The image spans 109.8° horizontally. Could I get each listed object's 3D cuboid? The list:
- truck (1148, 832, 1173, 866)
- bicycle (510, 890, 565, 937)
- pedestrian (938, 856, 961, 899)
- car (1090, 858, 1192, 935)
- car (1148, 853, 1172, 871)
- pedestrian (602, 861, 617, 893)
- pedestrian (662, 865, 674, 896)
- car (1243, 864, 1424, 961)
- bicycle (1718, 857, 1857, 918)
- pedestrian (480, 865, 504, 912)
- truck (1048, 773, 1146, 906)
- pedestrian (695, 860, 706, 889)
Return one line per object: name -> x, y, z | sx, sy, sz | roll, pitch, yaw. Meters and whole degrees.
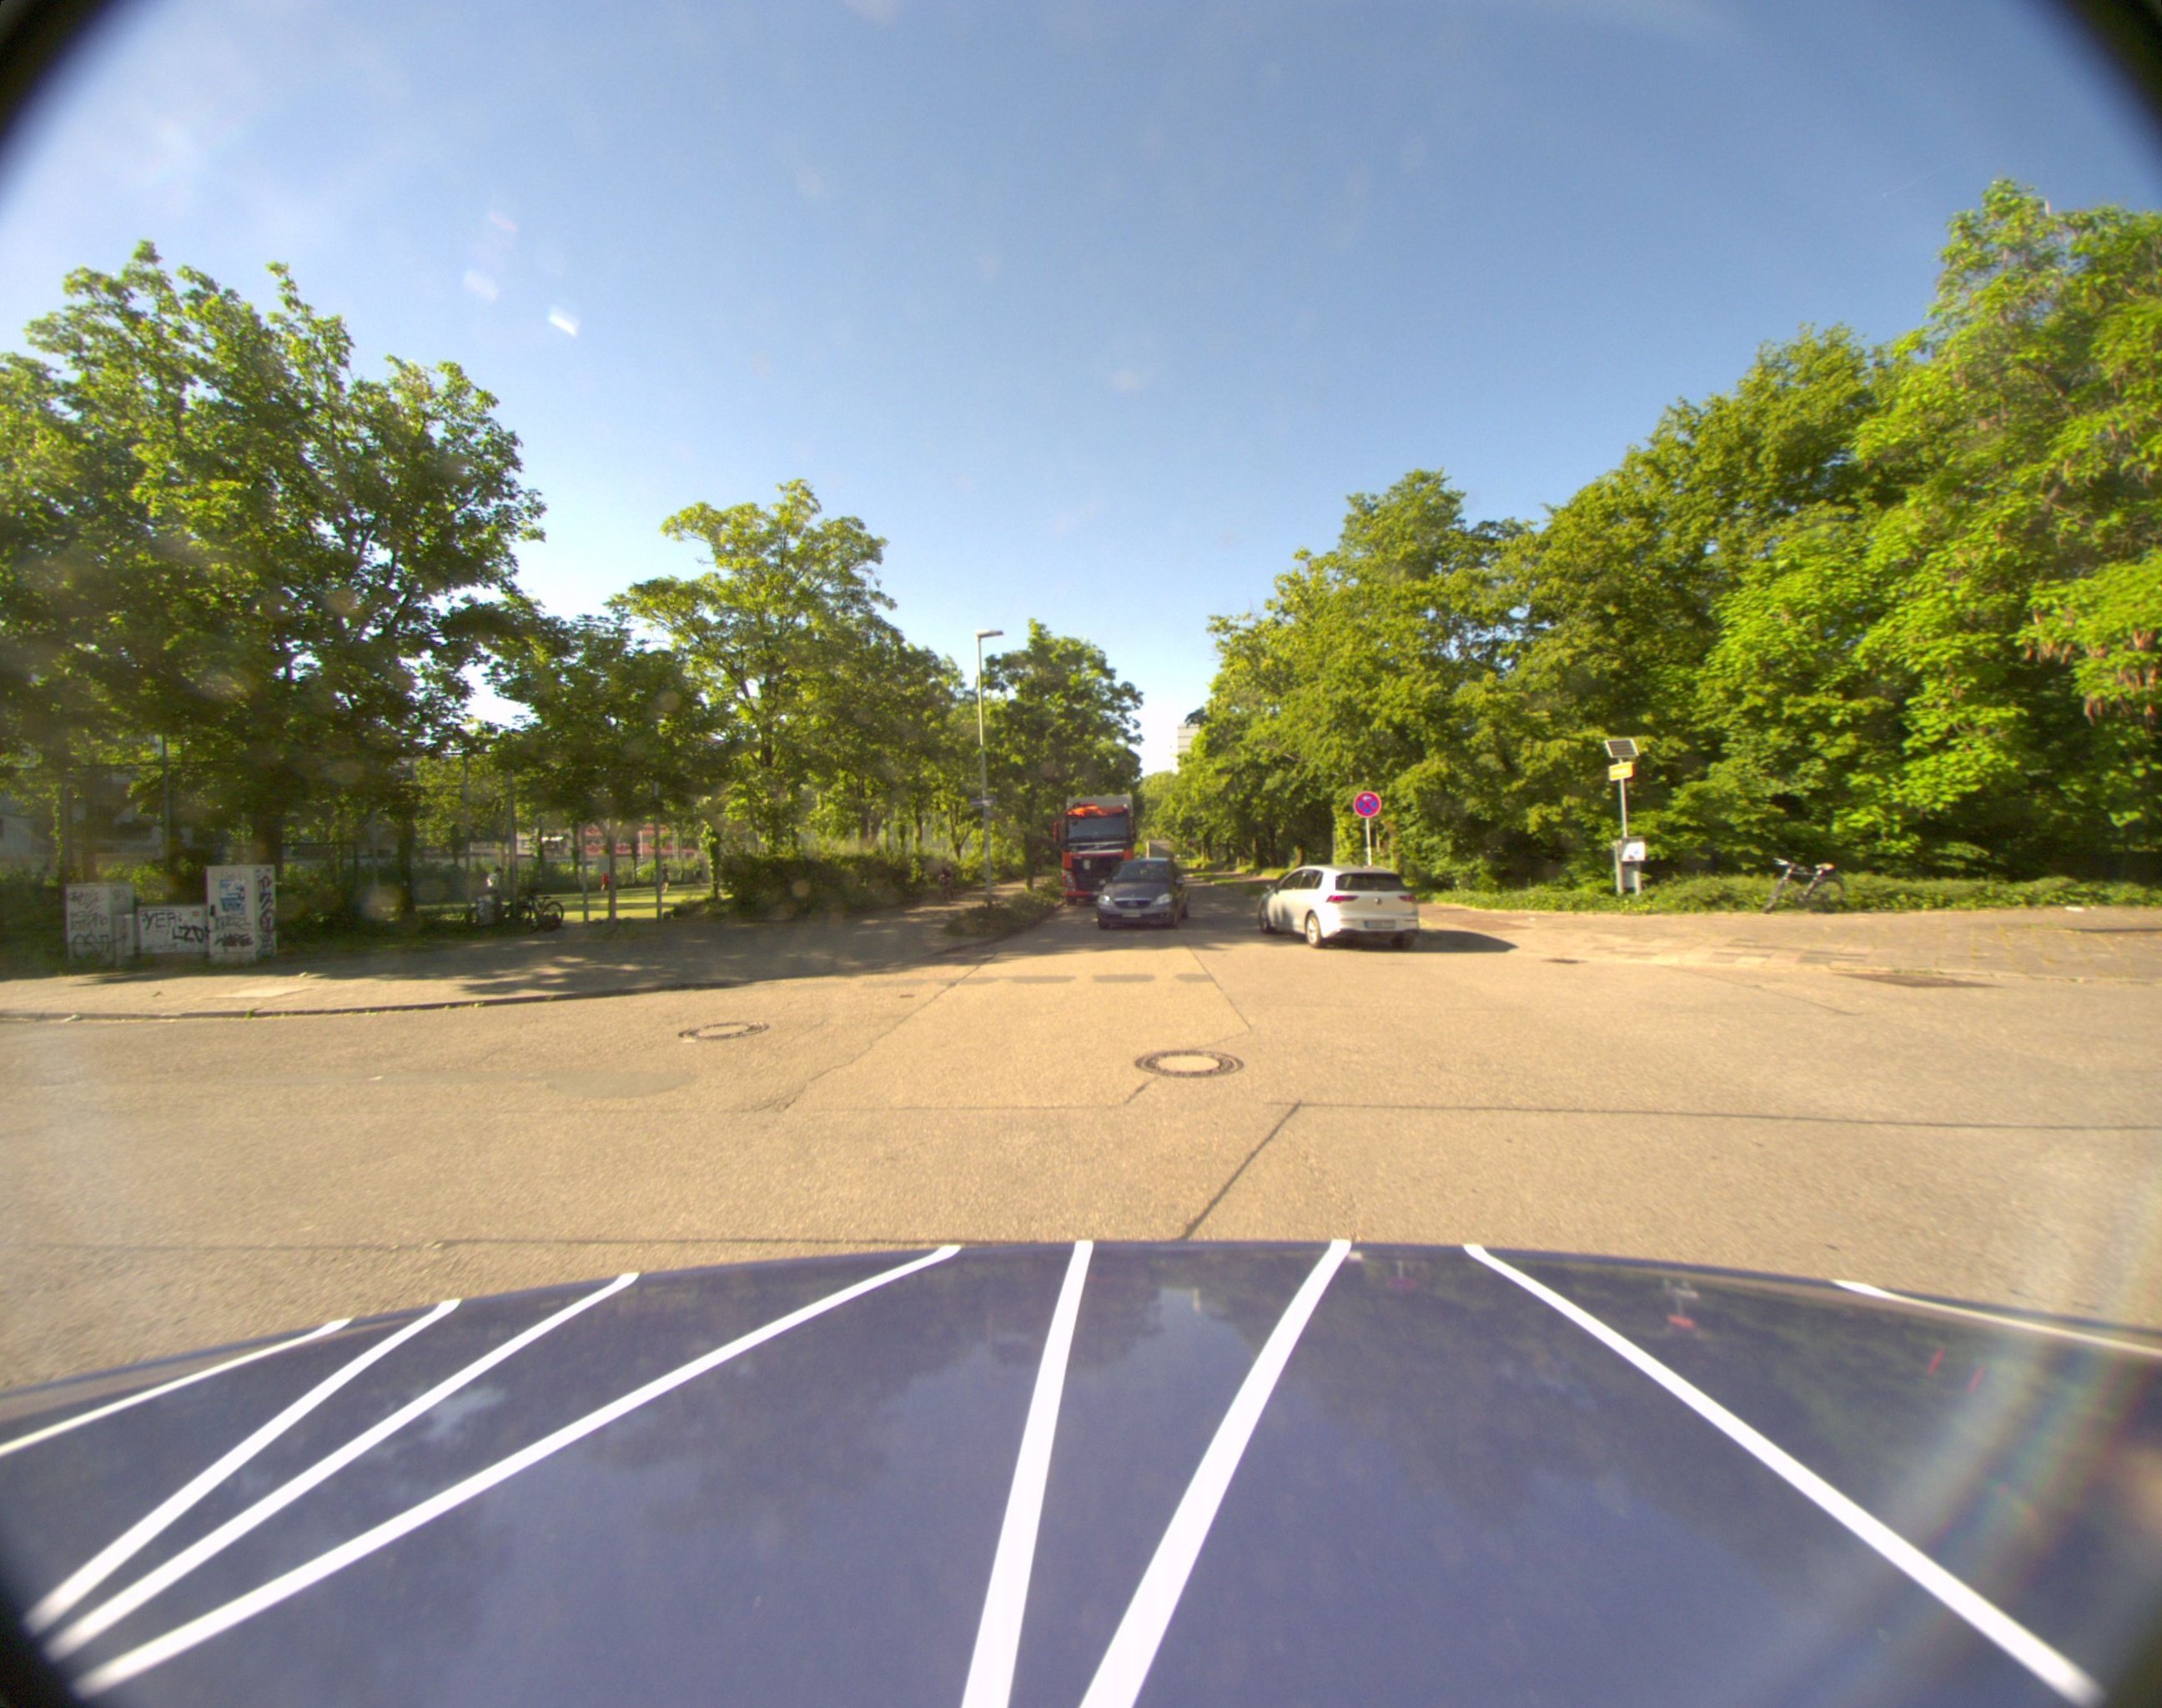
truck -> 9.805, -0.707, 94.380 | 2.802, 3.996, 9.627 | 1, 1, 4
bicycle -> -11.831, 1.274, 16.551 | 0.909, 0.953, 0.294 | -1, 0, -44
pedestrian -> -4.995, 0.888, 28.868 | 0.641, 1.629, 0.641 | -1, 0, 7
car -> 1.539, 0.925, 18.147 | 1.853, 1.635, 3.760 | -1, 0, 13
car -> 7.266, 0.696, 70.113 | 1.998, 1.575, 4.001 | -1, 0, 3
pedestrian -> -22.428, 1.087, 36.160 | 0.437, 1.527, 0.429 | -1, 0, 0
pedestrian -> -20.208, 1.293, 37.165 | 0.320, 1.527, 0.393 | -1, 0, 0
car -> 4.515, 0.966, 14.307 | 1.666, 1.458, 4.186 | 0, 0, -6
bicycle -> 14.241, 0.663, 15.382 | 1.902, 1.146, 0.761 | -1, 4, 14
pedestrian -> -19.366, 1.117, 24.977 | 0.437, 1.527, 0.429 | -1, 0, 0
truck -> 0.941, -0.485, 30.371 | 3.165, 4.319, 10.587 | -1, 0, 4
pedestrian -> -20.138, 1.097, 40.208 | 0.317, 1.527, 0.402 | -1, 0, 0
